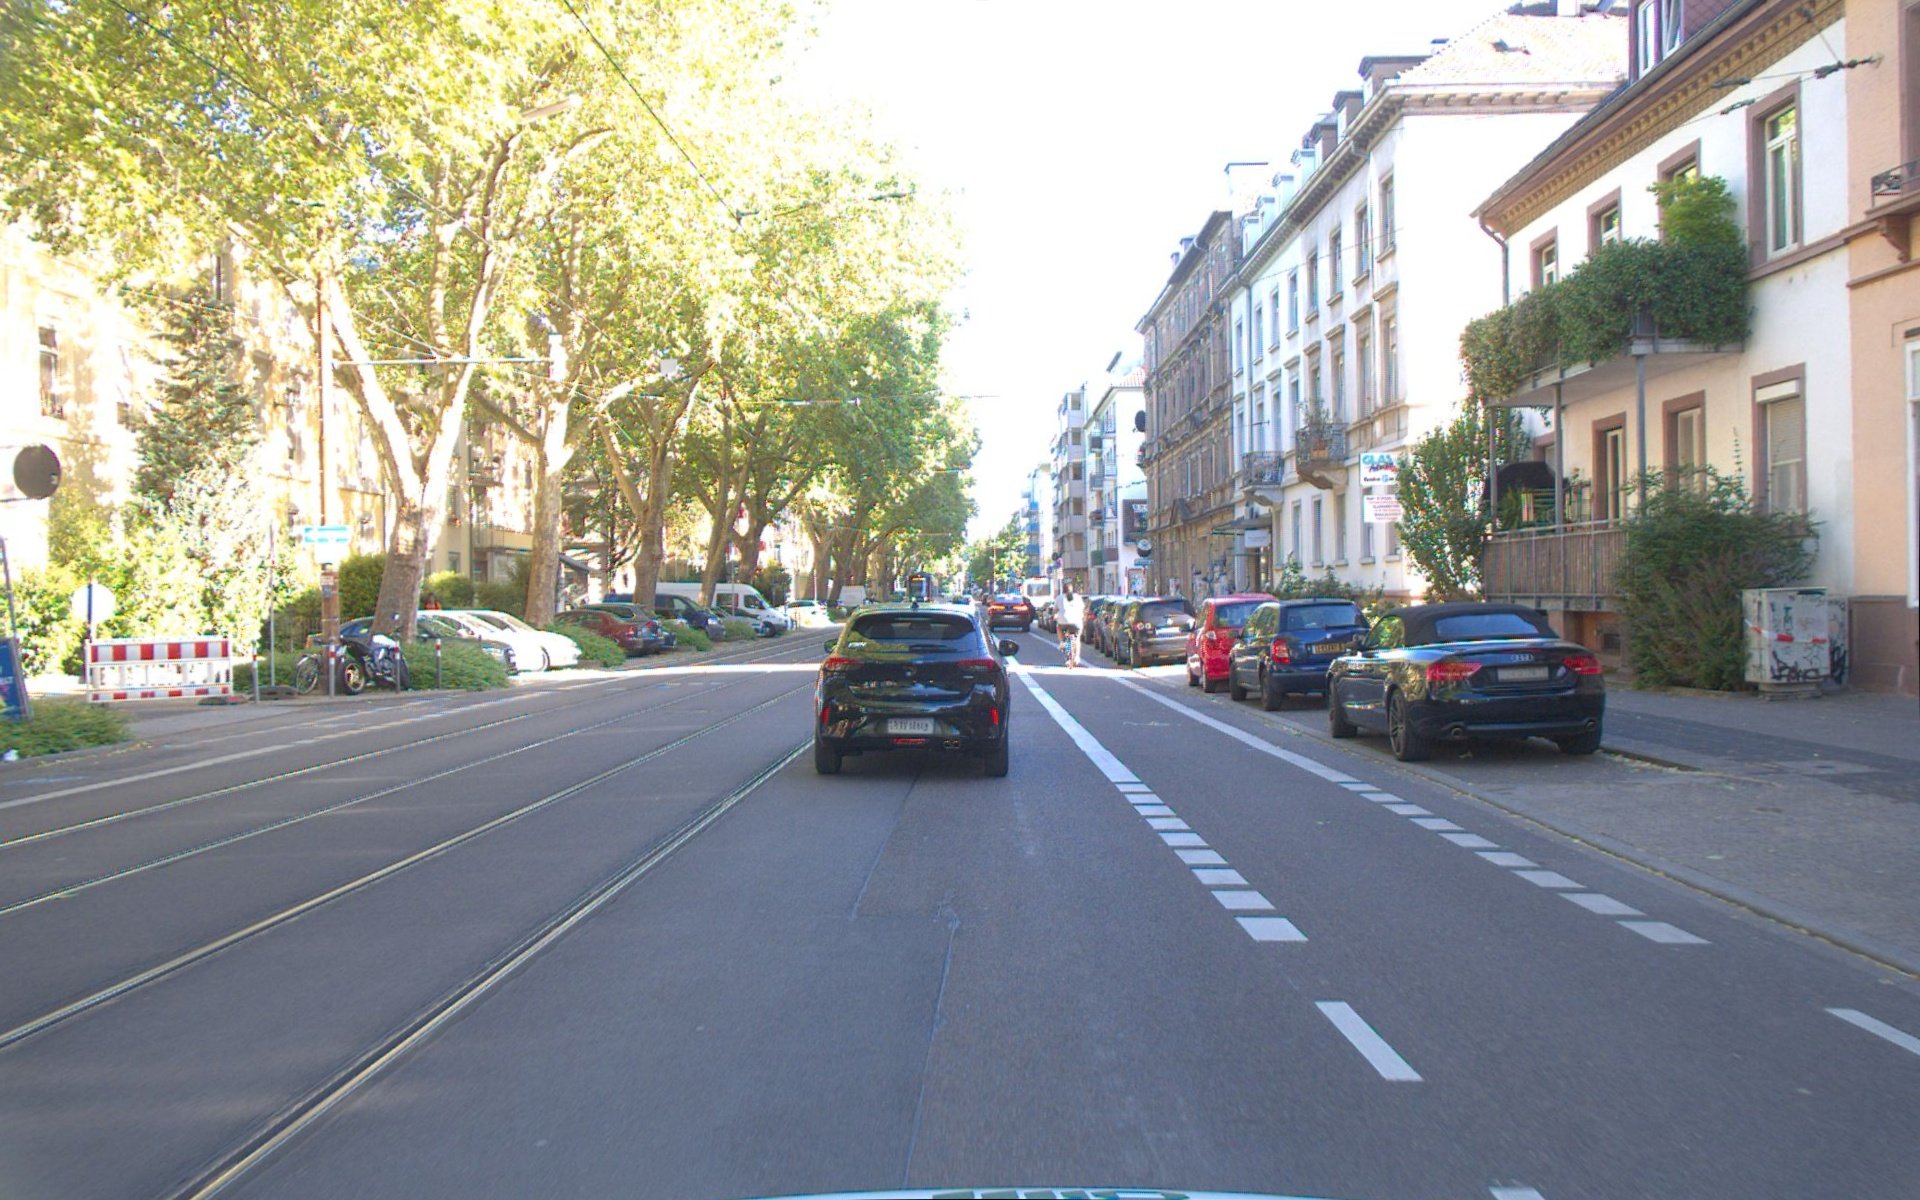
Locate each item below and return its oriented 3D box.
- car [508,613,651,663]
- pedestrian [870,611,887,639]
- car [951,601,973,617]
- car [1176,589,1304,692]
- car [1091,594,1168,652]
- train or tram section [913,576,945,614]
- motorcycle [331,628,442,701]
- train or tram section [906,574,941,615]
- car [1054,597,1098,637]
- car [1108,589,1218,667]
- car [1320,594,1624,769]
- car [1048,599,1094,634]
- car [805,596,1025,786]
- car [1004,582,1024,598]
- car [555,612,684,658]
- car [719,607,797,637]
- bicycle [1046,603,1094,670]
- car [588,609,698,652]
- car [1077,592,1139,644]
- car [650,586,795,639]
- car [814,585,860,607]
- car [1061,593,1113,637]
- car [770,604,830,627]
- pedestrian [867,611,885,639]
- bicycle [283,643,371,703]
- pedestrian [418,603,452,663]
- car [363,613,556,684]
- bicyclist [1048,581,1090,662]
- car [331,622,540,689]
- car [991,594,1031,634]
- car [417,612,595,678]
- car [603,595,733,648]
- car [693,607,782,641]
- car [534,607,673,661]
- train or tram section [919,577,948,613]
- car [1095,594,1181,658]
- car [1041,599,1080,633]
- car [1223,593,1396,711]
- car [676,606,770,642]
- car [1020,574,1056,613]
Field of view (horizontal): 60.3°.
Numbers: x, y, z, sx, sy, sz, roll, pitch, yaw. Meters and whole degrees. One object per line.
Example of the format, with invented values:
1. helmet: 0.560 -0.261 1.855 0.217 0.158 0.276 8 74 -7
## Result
1. car: -11.277 1.115 49.162 3.839 1.467 1.749 0 0 0
2. pedestrian: -4.762 1.453 96.967 0.668 1.594 0.765 -1 0 40
3. car: 0.155 0.763 141.323 1.772 1.361 3.933 -1 0 1
4. car: 4.694 0.643 28.177 1.601 1.573 3.576 -2 0 1
5. car: 4.951 0.647 48.798 1.842 1.481 4.026 -5 0 1
6. train or tram section: -3.161 -0.517 171.545 2.678 3.746 12.718 -2 0 1
7. motorcycle: -10.172 1.123 29.441 0.865 1.167 2.392 -1 0 8
8. train or tram section: -3.402 -0.505 158.834 2.678 3.746 12.718 -2 0 1
9. car: 4.794 0.669 68.625 1.669 1.481 3.699 -5 0 3
10. car: 4.794 0.648 39.513 1.843 1.613 3.930 -5 0 -3
11. car: 4.845 0.697 16.328 1.659 1.417 4.495 -3 0 1
12. car: 4.865 0.693 72.928 1.773 1.361 3.933 -5 0 1
13. car: -0.365 0.734 15.117 1.757 1.466 3.531 -1 1 0
14. car: 5.108 -0.966 156.702 1.773 1.361 3.933 -5 0 1
15. car: -11.044 1.127 53.874 3.840 1.446 1.818 0 0 -2
16. car: -10.381 1.116 85.030 3.841 1.524 1.676 0 0 -3
17. bicycle: 2.448 0.789 37.152 0.843 1.431 2.523 -1 0 -1
18. car: -11.531 1.091 60.373 3.658 1.524 1.746 0 0 0
19. car: 4.882 0.583 54.922 1.676 1.509 3.764 -5 0 1
20. car: -11.210 0.597 78.402 6.492 2.451 2.458 0 0 0
21. car: -10.396 -0.354 139.896 3.841 1.821 1.676 0 0 -3
22. car: 4.852 0.577 63.572 1.536 1.543 3.039 -5 0 -2
23. car: -10.569 1.026 109.370 3.841 1.524 1.676 0 0 -3
24. pedestrian: -4.885 1.454 96.152 0.668 1.594 0.765 -1 0 40
25. bicycle: -11.245 1.281 29.455 0.529 0.957 2.035 -1 0 8
26. pedestrian: -16.798 1.051 52.933 0.848 1.882 0.836 -1 0 -7
27. car: -11.390 1.093 37.812 3.841 1.478 1.800 -1 0 0
28. bicyclist: 2.447 0.481 37.189 0.831 1.770 1.161 -1 0 -1
29. car: -11.126 1.169 35.291 3.839 1.355 1.848 0 0 1
30. car: 2.369 0.629 77.227 1.772 1.772 3.933 -2 0 1
31. car: -11.117 1.085 40.671 3.839 1.488 1.806 -1 0 0
32. car: -11.135 0.811 63.301 4.578 1.957 1.980 0 0 1
33. car: -10.201 1.100 76.015 3.840 1.524 1.677 0 0 -2
34. car: -11.046 1.049 51.470 3.913 1.655 1.879 0 0 0
35. train or tram section: -2.868 -0.506 184.224 2.678 3.746 12.718 -2 0 1
36. car: 4.691 0.662 44.056 1.762 1.481 3.767 -5 0 -1
37. car: 4.832 0.745 79.726 1.628 1.444 3.933 -5 0 1
38. car: 4.898 0.691 23.660 1.617 1.481 3.868 -2 0 0
39. car: -10.410 1.053 72.692 3.839 1.524 1.677 0 0 1
40. car: 4.954 -0.424 106.227 2.033 2.257 4.934 -5 0 1
